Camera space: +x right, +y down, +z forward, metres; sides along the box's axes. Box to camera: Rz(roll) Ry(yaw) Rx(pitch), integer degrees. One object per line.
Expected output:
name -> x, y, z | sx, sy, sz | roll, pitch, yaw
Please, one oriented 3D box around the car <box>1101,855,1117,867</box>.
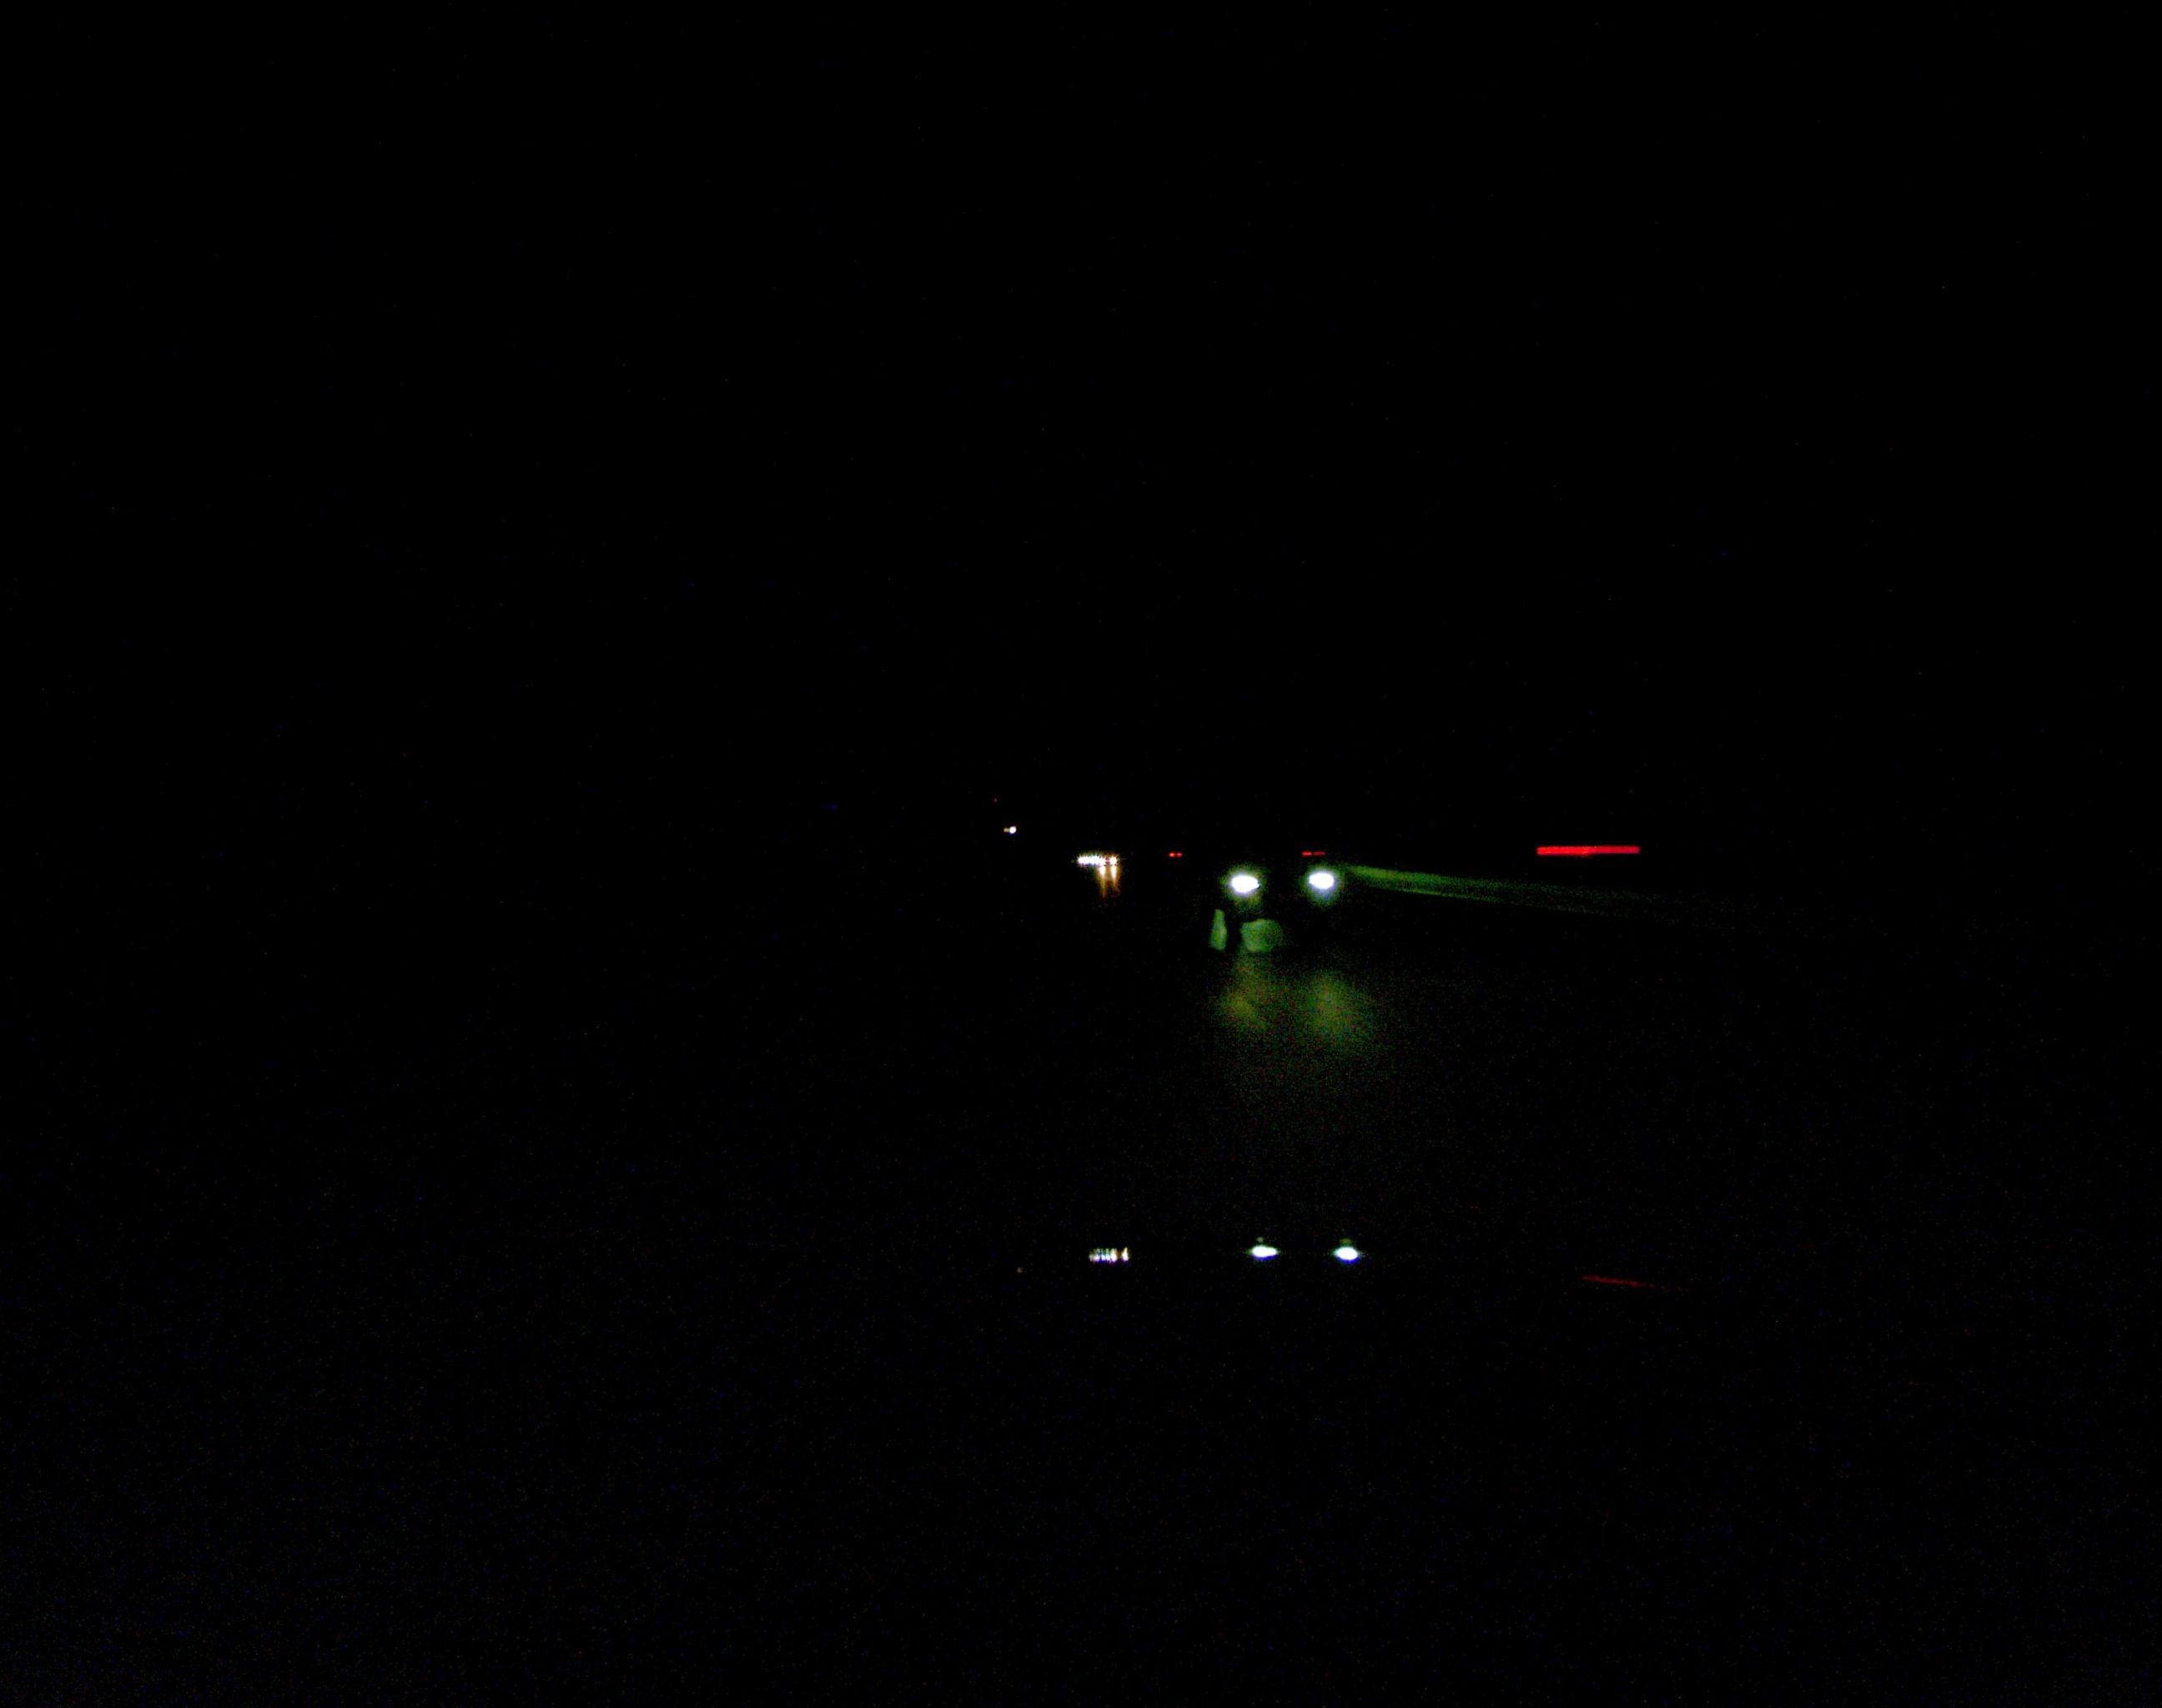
car -> 3.844, 0.950, 105.042 | 1.998, 1.423, 4.329 | -4, 1, 1
